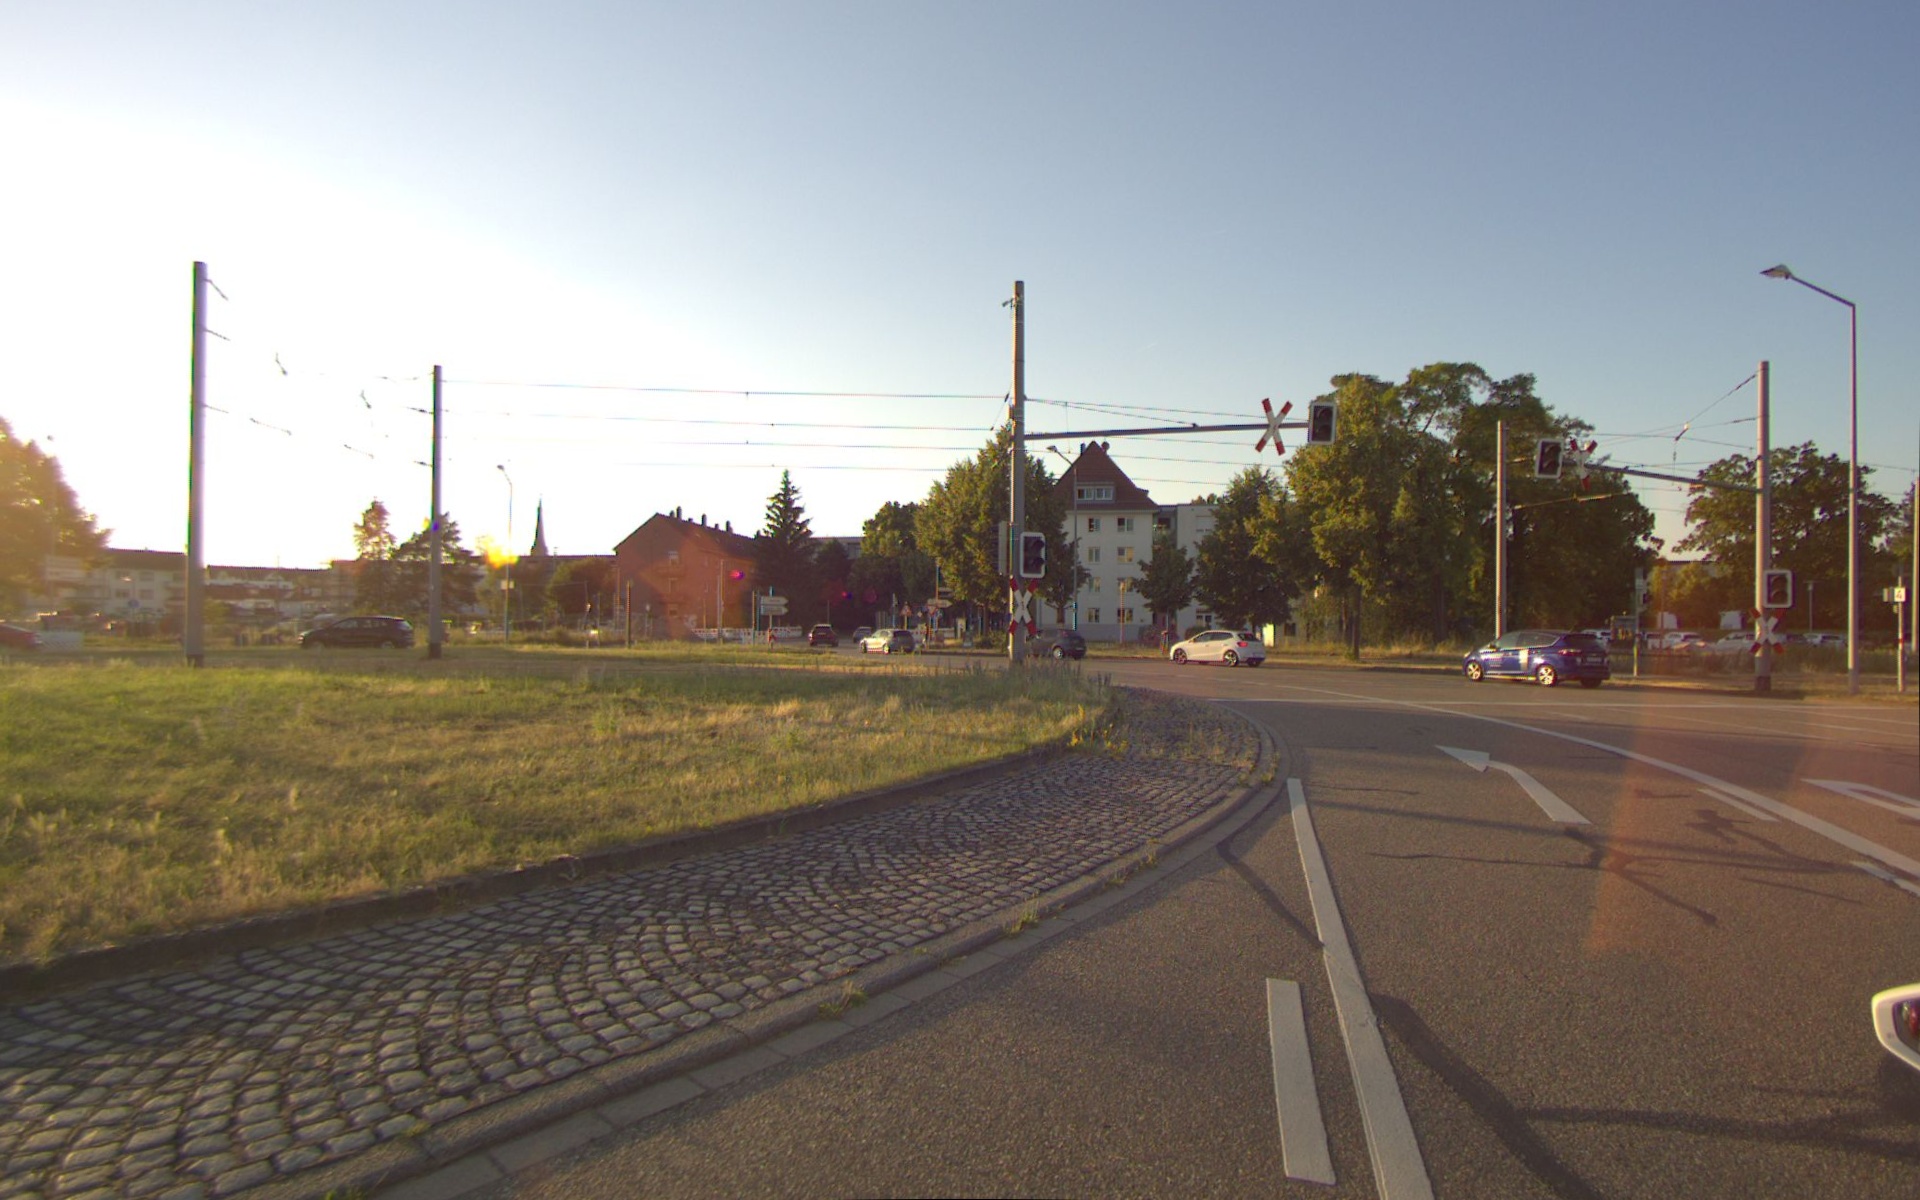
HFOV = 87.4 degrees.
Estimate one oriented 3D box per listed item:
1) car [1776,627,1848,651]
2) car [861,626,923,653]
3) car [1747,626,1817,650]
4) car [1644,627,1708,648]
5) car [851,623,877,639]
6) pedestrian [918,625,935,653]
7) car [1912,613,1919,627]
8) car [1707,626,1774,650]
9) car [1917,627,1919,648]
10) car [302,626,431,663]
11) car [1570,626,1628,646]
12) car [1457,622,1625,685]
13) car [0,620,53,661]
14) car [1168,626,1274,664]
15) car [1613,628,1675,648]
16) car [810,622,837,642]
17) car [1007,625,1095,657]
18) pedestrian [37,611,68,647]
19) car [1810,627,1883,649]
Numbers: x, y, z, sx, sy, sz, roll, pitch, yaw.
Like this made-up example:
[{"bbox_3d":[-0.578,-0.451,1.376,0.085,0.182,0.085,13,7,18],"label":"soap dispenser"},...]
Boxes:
[{"bbox_3d":[62.157,2.830,73.368,1.914,1.684,4.001,0,-1,2],"label":"car"},{"bbox_3d":[-3.912,2.206,57.200,1.862,1.420,3.881,1,-1,-33],"label":"car"},{"bbox_3d":[59.973,2.763,73.335,1.914,1.684,4.001,0,-1,2],"label":"car"},{"bbox_3d":[52.487,2.721,73.716,1.914,1.464,4.001,0,-1,2],"label":"car"},{"bbox_3d":[-8.847,2.816,92.591,1.844,1.420,3.917,0,-1,2],"label":"car"},{"bbox_3d":[-2.057,2.355,61.298,0.869,1.708,0.847,0,-1,12],"label":"pedestrian"},{"bbox_3d":[108.189,2.209,110.982,3.919,1.574,1.905,0,-1,6],"label":"car"},{"bbox_3d":[57.526,2.761,74.089,1.914,1.684,4.001,0,-1,2],"label":"car"},{"bbox_3d":[71.344,2.714,71.902,1.865,1.574,4.001,0,-1,2],"label":"car"},{"bbox_3d":[-24.440,1.817,41.553,4.254,1.451,1.936,1,-1,-19],"label":"car"},{"bbox_3d":[47.442,2.644,74.653,1.914,1.464,4.001,0,-1,2],"label":"car"},{"bbox_3d":[16.863,1.510,29.389,1.926,1.623,4.063,2,-1,-16],"label":"car"},{"bbox_3d":[-36.361,1.467,36.638,4.544,1.451,1.928,1,-1,-32],"label":"car"},{"bbox_3d":[10.589,1.810,40.935,1.866,1.420,3.873,1,-1,-39],"label":"car"},{"bbox_3d":[50.369,2.791,74.033,1.914,1.464,4.001,0,-1,2],"label":"car"},{"bbox_3d":[-10.092,2.362,74.078,1.848,1.420,3.909,1,-1,-10],"label":"car"},{"bbox_3d":[4.250,1.909,47.402,1.869,1.420,3.865,1,-1,-44],"label":"car"},{"bbox_3d":[-47.249,1.521,52.322,1.153,1.851,0.967,1,-2,-42],"label":"pedestrian"},{"bbox_3d":[64.652,2.746,73.355,1.865,1.574,4.001,0,-1,2],"label":"car"}]
